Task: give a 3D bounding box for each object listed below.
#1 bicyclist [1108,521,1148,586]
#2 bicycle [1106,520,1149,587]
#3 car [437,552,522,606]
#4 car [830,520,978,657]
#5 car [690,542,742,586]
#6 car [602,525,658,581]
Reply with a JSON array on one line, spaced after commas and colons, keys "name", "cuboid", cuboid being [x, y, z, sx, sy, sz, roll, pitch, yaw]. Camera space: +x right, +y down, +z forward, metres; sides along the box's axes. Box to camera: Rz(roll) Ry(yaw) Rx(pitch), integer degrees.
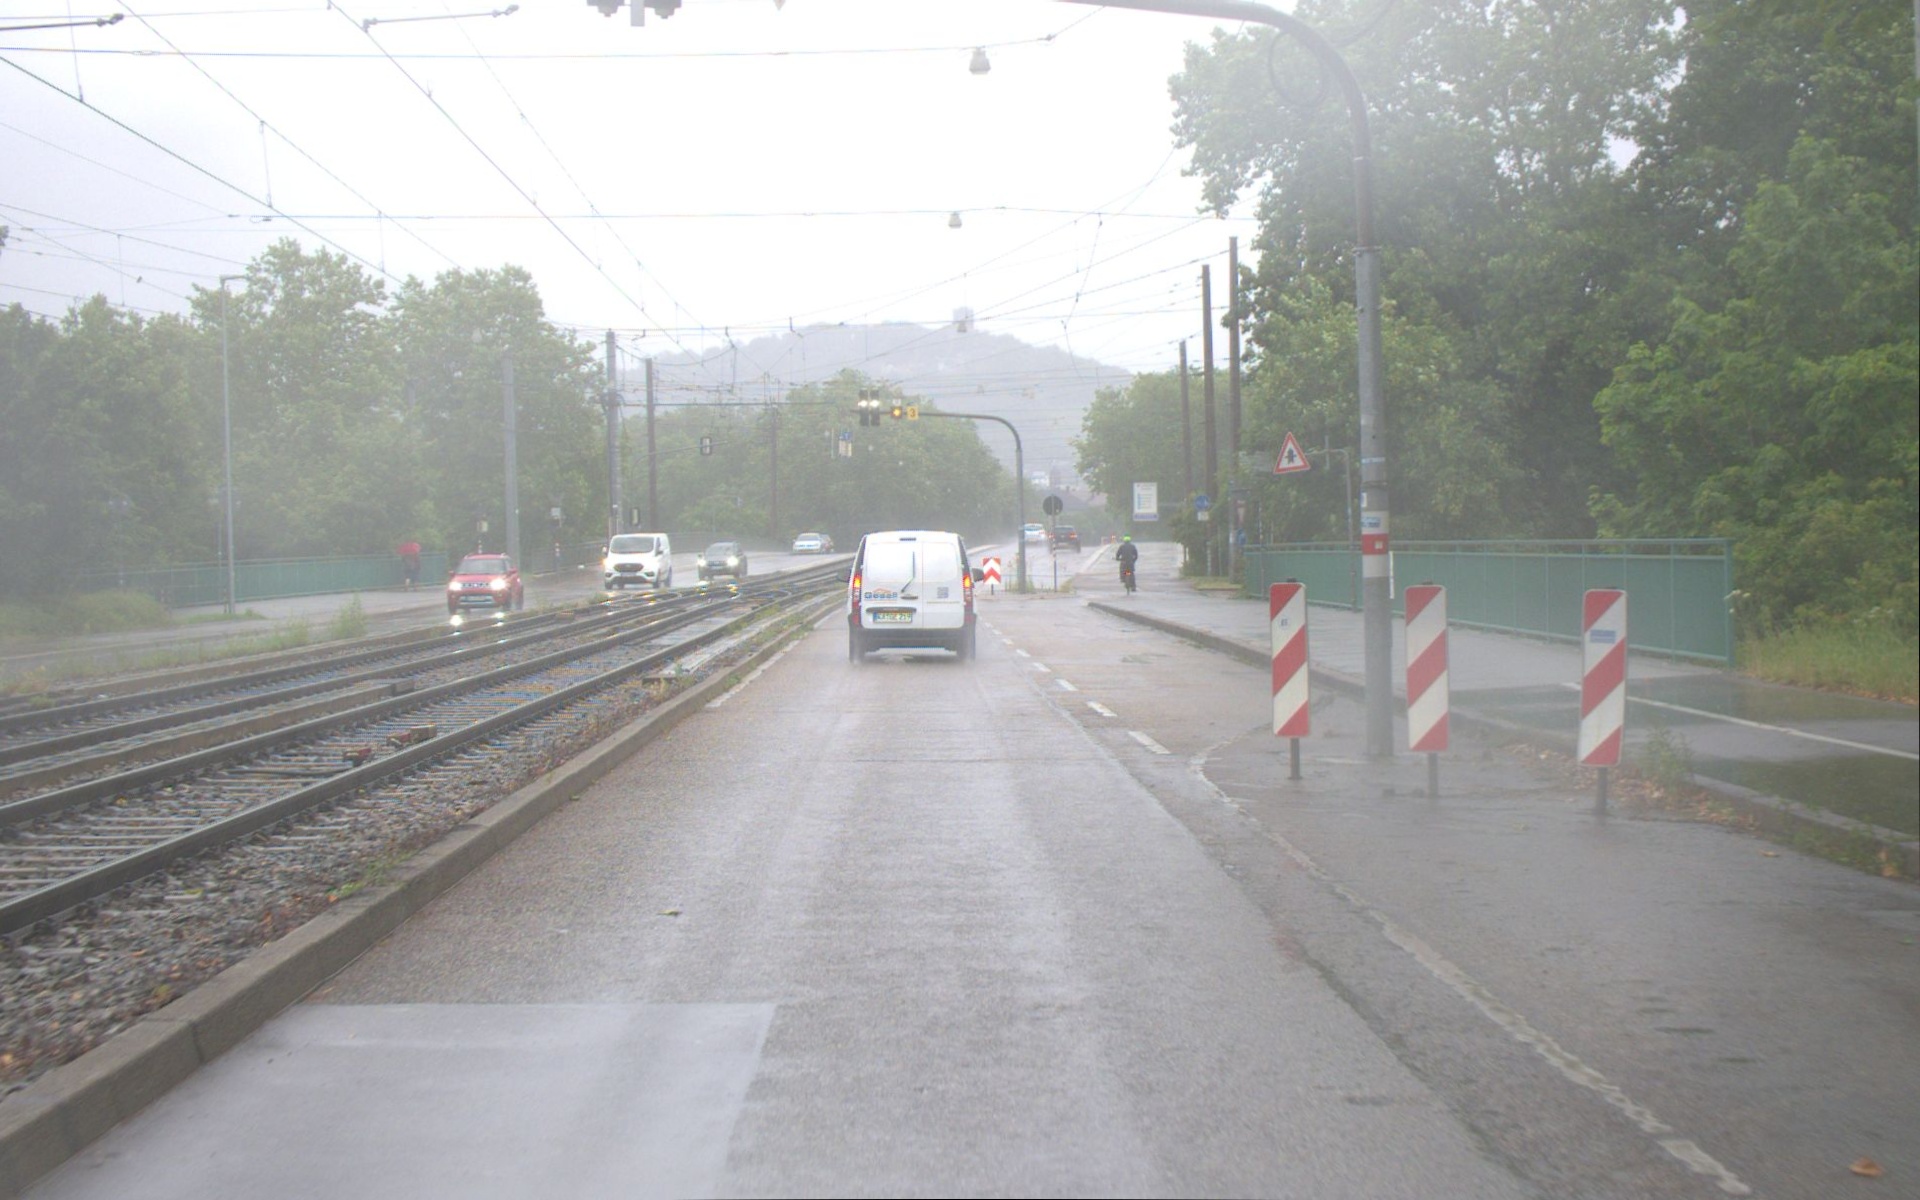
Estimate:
[{"name": "bicyclist", "cuboid": [5.179, -1.429, 106.047, 1.100, 2.007, 1.674, 0, 0, -1]}, {"name": "bicycle", "cuboid": [5.169, -1.419, 106.067, 1.105, 2.007, 3.051, 0, 0, -1]}, {"name": "car", "cuboid": [-13.140, -0.588, 94.231, 1.819, 1.393, 4.000, -1, 1, -1]}, {"name": "car", "cuboid": [-0.746, -0.182, 48.233, 1.993, 1.842, 4.000, 0, 1, 0]}, {"name": "car", "cuboid": [-10.736, -1.569, 151.522, 1.993, 1.941, 4.000, 0, 0, 0]}, {"name": "car", "cuboid": [-12.082, -1.713, 125.646, 1.993, 2.007, 4.001, 0, 0, -6]}]
